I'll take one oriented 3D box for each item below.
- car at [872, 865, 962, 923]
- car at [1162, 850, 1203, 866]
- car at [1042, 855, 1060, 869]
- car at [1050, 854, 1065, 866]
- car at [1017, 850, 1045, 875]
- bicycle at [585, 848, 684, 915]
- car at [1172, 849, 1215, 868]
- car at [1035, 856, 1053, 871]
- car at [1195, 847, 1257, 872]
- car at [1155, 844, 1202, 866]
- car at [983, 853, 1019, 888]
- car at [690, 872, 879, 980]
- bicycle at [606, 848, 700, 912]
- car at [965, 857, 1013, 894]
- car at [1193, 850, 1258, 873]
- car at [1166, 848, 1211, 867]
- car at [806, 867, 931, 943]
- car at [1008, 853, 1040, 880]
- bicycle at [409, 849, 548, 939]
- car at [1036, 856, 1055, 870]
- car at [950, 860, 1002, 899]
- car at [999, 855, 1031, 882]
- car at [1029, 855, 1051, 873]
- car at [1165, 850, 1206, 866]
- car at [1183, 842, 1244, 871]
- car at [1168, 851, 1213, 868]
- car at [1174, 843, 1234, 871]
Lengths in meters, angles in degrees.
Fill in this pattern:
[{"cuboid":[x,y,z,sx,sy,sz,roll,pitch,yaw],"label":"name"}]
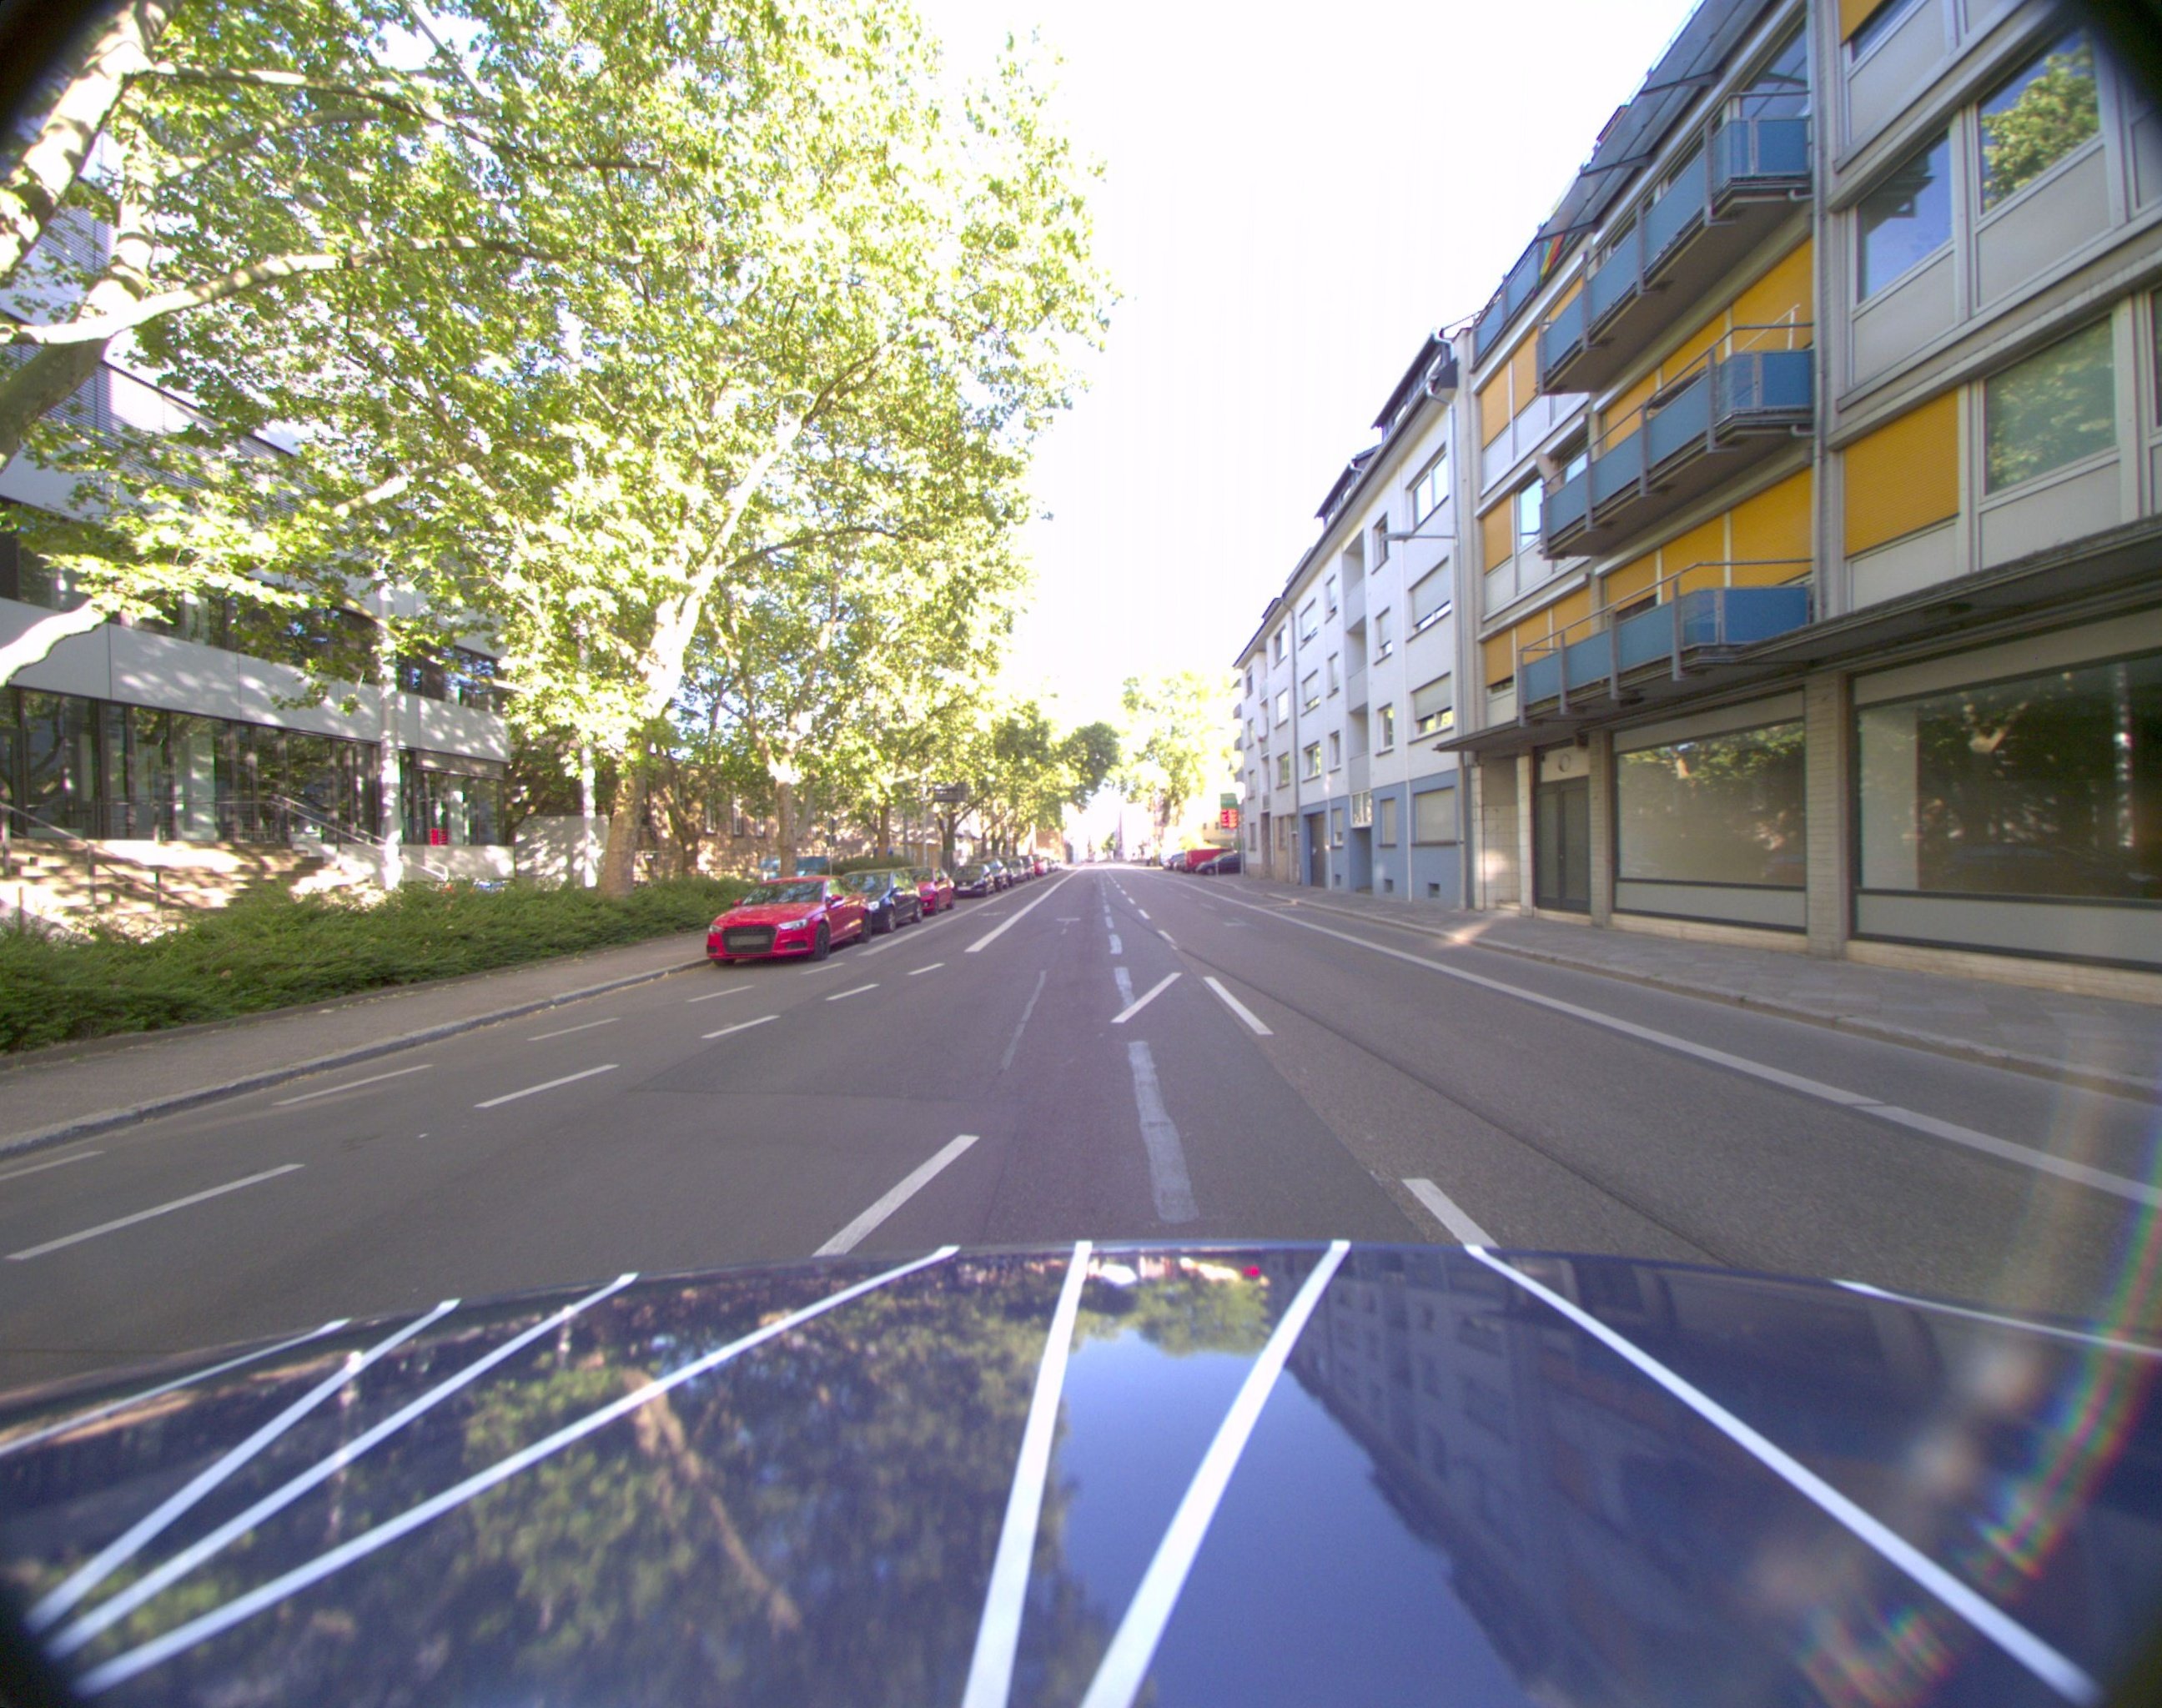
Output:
[{"cuboid":[-4.998,1.155,23.713,1.697,1.470,4.318,-4,0,1],"label":"car"},{"cuboid":[10.776,0.419,80.809,3.997,1.550,1.853,-3,0,1],"label":"car"},{"cuboid":[-3.658,0.939,92.523,1.860,1.514,4.297,-3,0,0],"label":"car"},{"cuboid":[-3.177,0.821,103.300,1.860,1.428,4.969,-2,0,-2],"label":"car"},{"cuboid":[-4.309,0.693,66.763,2.083,1.982,5.171,-3,0,-1],"label":"car"},{"cuboid":[-13.992,0.845,23.855,2.604,2.002,0.742,-1,1,1],"label":"bicycle"},{"cuboid":[10.451,0.384,71.042,3.694,1.504,1.831,-4,0,1],"label":"car"},{"cuboid":[-3.919,0.998,80.635,1.617,1.466,3.493,-4,0,0],"label":"car"},{"cuboid":[10.877,0.409,57.203,4.183,1.554,1.886,-4,0,1],"label":"car"},{"cuboid":[10.902,0.071,85.360,4.856,2.204,2.140,-3,0,1],"label":"car"},{"cuboid":[-4.688,0.900,44.276,1.830,1.830,4.896,-4,0,-7],"label":"car"},{"cuboid":[-5.129,1.161,13.867,1.697,1.441,4.435,-4,0,-1],"label":"car"},{"cuboid":[-13.942,0.833,24.784,2.604,2.002,0.742,-1,1,1],"label":"bicycle"},{"cuboid":[-4.575,1.012,38.345,1.780,1.618,4.620,-4,0,0],"label":"car"},{"cuboid":[10.412,0.548,54.950,4.239,1.372,2.046,-3,1,1],"label":"car"},{"cuboid":[10.767,0.334,76.149,4.204,1.674,2.028,-3,0,1],"label":"car"},{"cuboid":[-5.028,1.155,18.566,1.697,1.458,4.066,-4,0,2],"label":"car"},{"cuboid":[-4.115,0.850,55.424,1.697,1.802,4.130,-4,0,3],"label":"car"},{"cuboid":[-13.997,0.913,17.682,2.604,2.002,0.742,-1,1,1],"label":"bicycle"},{"cuboid":[-3.975,0.993,86.272,1.860,1.513,4.599,-3,0,1],"label":"car"},{"cuboid":[-4.518,1.072,33.309,1.697,1.495,4.019,-4,0,-1],"label":"car"},{"cuboid":[-4.384,0.950,50.889,1.697,1.618,4.329,-4,0,-1],"label":"car"},{"cuboid":[-3.872,0.918,71.767,1.641,1.476,3.760,-4,0,3],"label":"car"},{"cuboid":[10.825,0.441,78.682,3.997,1.424,1.853,-3,0,1],"label":"car"},{"cuboid":[10.455,0.215,60.150,4.432,1.940,2.146,-4,0,1],"label":"car"},{"cuboid":[10.489,0.499,73.116,3.997,1.447,1.916,-3,0,1],"label":"car"},{"cuboid":[10.102,0.244,62.815,4.533,1.940,2.057,-4,0,1],"label":"car"}]
